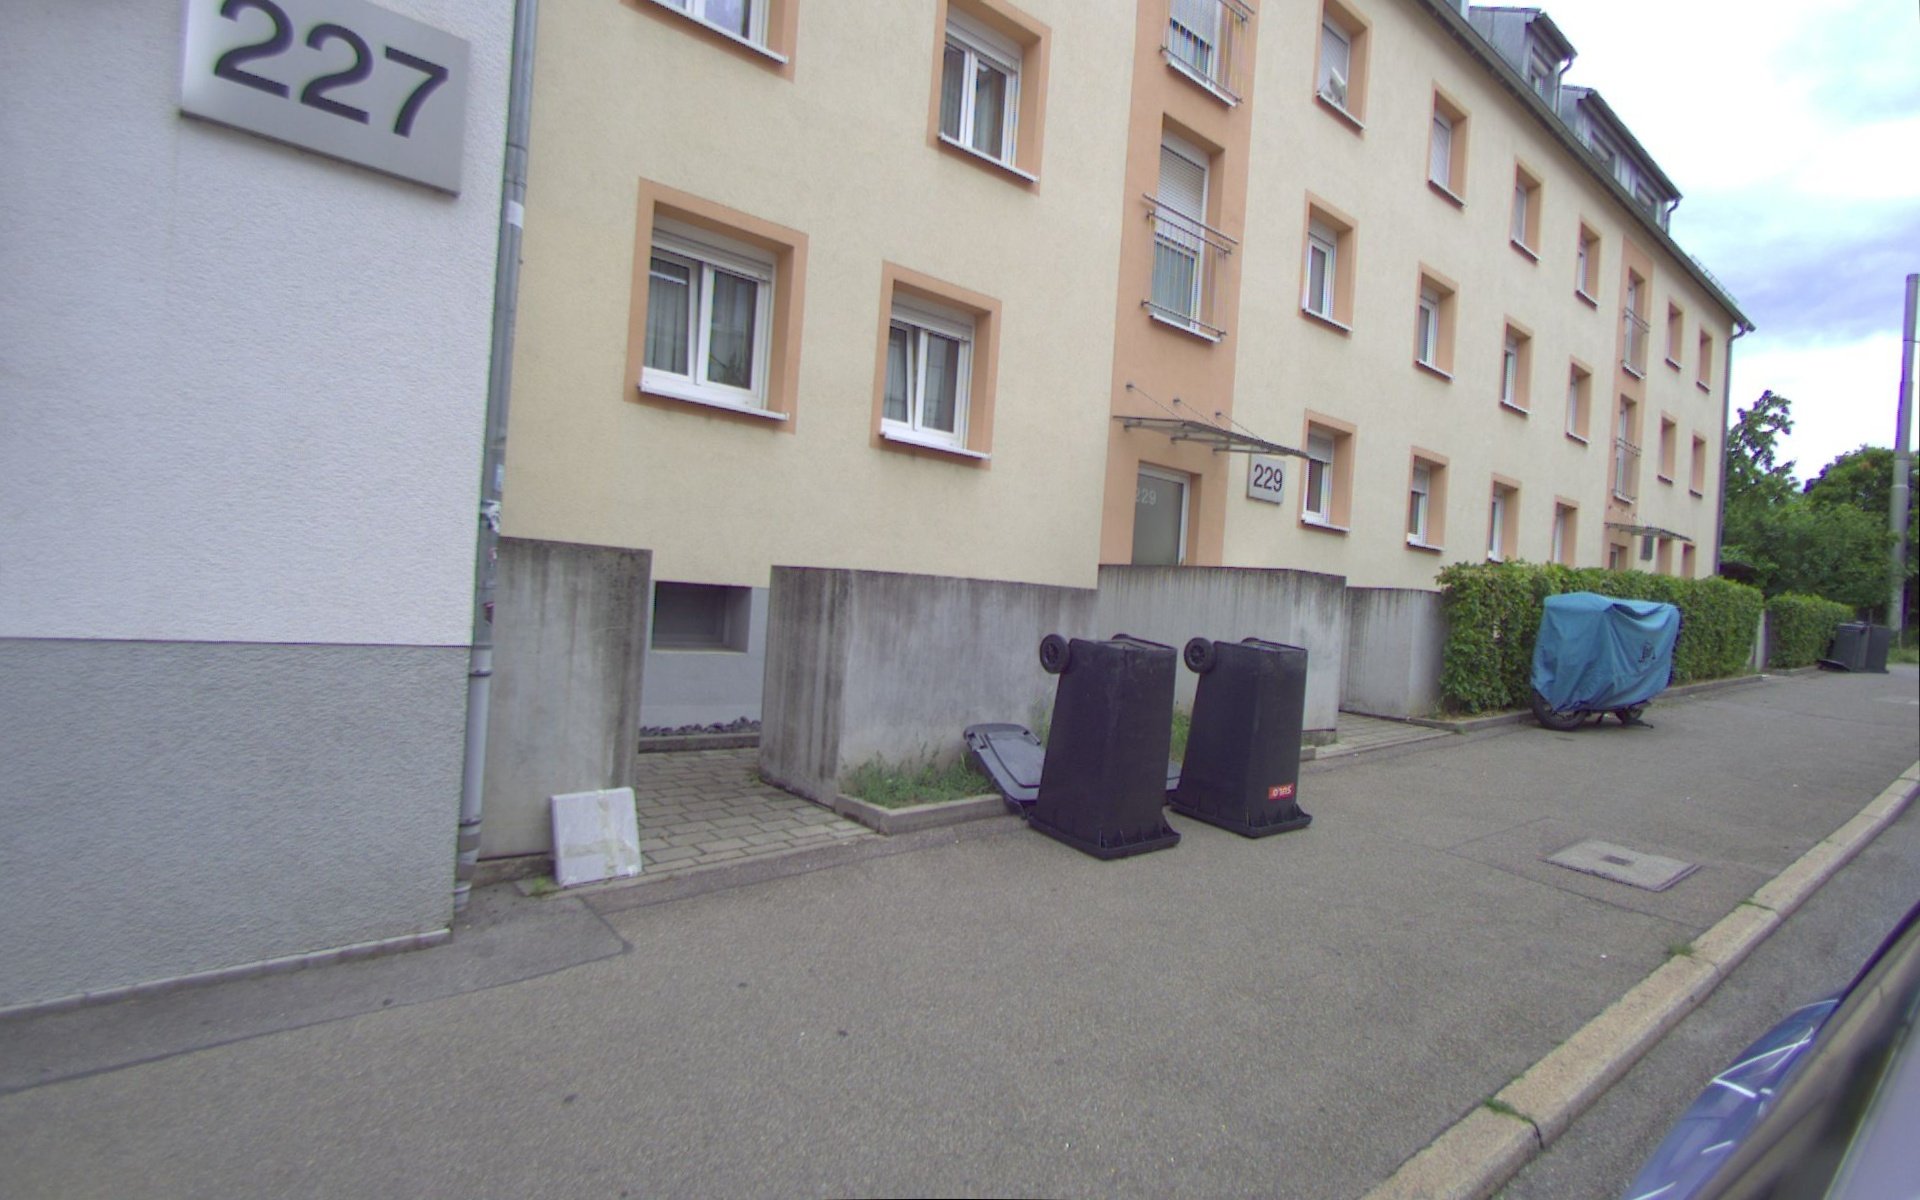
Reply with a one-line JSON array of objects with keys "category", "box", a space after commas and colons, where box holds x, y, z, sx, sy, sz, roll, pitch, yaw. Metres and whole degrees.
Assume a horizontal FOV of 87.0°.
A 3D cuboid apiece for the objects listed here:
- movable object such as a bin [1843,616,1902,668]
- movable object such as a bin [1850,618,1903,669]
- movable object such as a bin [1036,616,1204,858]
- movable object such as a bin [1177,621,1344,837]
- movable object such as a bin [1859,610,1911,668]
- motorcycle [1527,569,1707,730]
[{"category": "movable object such as a bin", "box": [19.408, 0.884, 21.529, 0.775, 1.024, 0.794, 1, 1, -39]}, {"category": "movable object such as a bin", "box": [20.079, 0.939, 22.175, 0.776, 1.024, 0.792, 1, 2, -44]}, {"category": "movable object such as a bin", "box": [0.802, 0.645, 5.109, 0.531, 1.093, 0.613, 1, 1, -39]}, {"category": "movable object such as a bin", "box": [1.699, 0.683, 5.729, 0.679, 1.093, 0.590, 1, 1, -39]}, {"category": "movable object such as a bin", "box": [20.736, 0.859, 22.682, 0.776, 1.233, 0.792, 1, 2, -44]}, {"category": "motorcycle", "box": [6.880, 0.460, 10.529, 2.507, 1.474, 0.840, 1, 2, -40]}]
